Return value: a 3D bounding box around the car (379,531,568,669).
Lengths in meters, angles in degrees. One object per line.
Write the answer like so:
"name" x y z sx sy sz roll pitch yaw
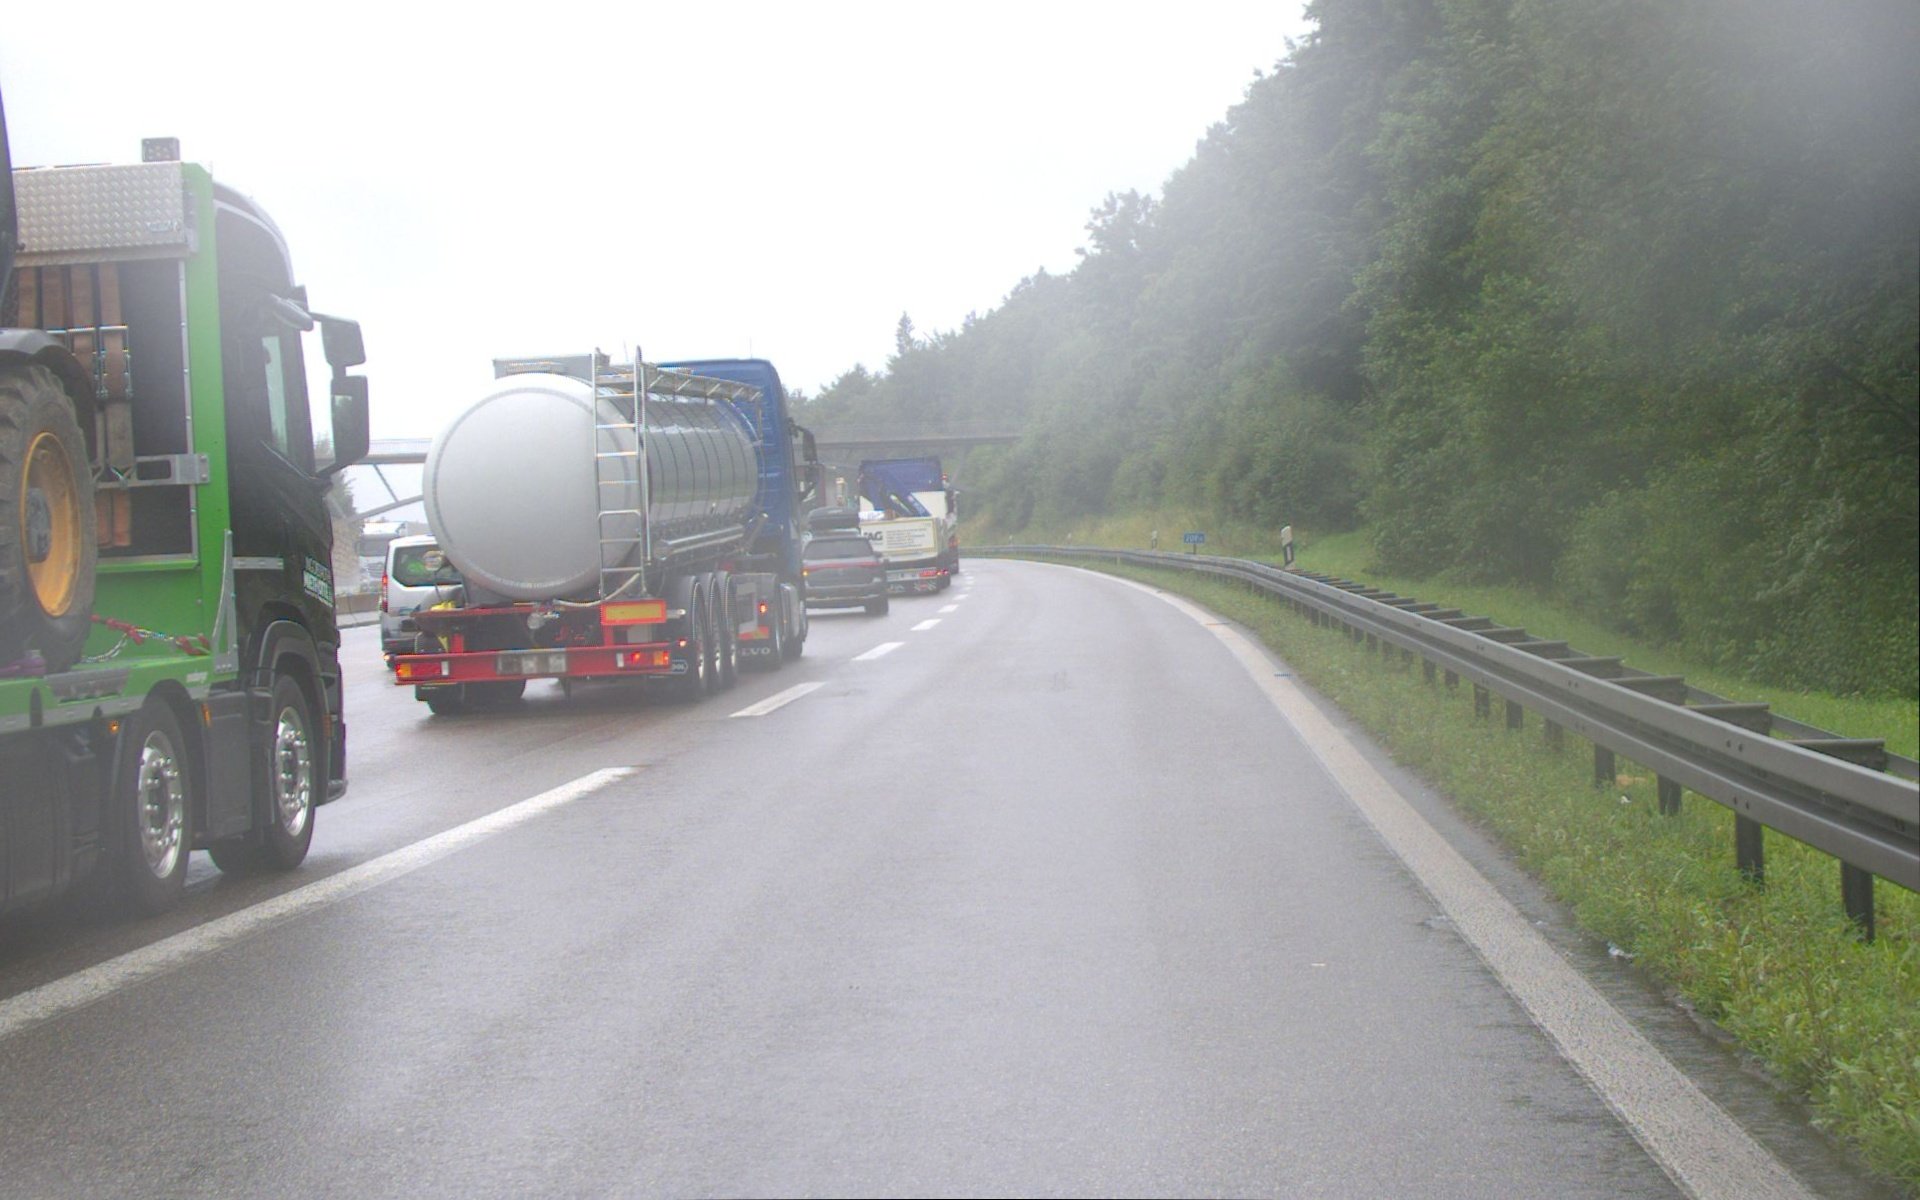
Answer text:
"car" -6.662 -0.033 47.481 1.819 1.761 4.000 -2 1 3

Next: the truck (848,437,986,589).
"truck" -1.216 -2.547 105.270 3.507 4.253 10.602 1 0 3

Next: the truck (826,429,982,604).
"truck" -1.351 -2.165 89.534 3.600 4.091 11.560 -3 1 0

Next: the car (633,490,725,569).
"car" -6.975 -1.733 85.640 1.797 1.831 4.000 1 0 2

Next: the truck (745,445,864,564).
"truck" -5.902 -3.590 132.456 3.576 4.081 10.879 -2 -1 2

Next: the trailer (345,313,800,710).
"trailer" -3.564 -0.880 34.546 2.874 3.277 10.078 -3 1 3

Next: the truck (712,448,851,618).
"truck" -5.981 -2.152 117.054 3.754 5.480 10.172 1 0 2

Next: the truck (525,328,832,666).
"truck" -3.275 -1.219 41.368 2.877 3.681 5.056 -3 1 3

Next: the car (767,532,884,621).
"car" -2.577 -0.428 66.597 1.993 1.630 4.000 1 0 1

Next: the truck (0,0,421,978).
"truck" -4.631 -0.476 11.501 2.831 3.576 11.796 -3 1 4

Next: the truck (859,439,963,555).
"truck" -1.833 -3.851 131.451 3.754 3.957 11.059 1 0 -1

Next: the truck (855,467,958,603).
"truck" -2.336 -2.810 153.344 4.336 5.744 9.730 1 0 0
